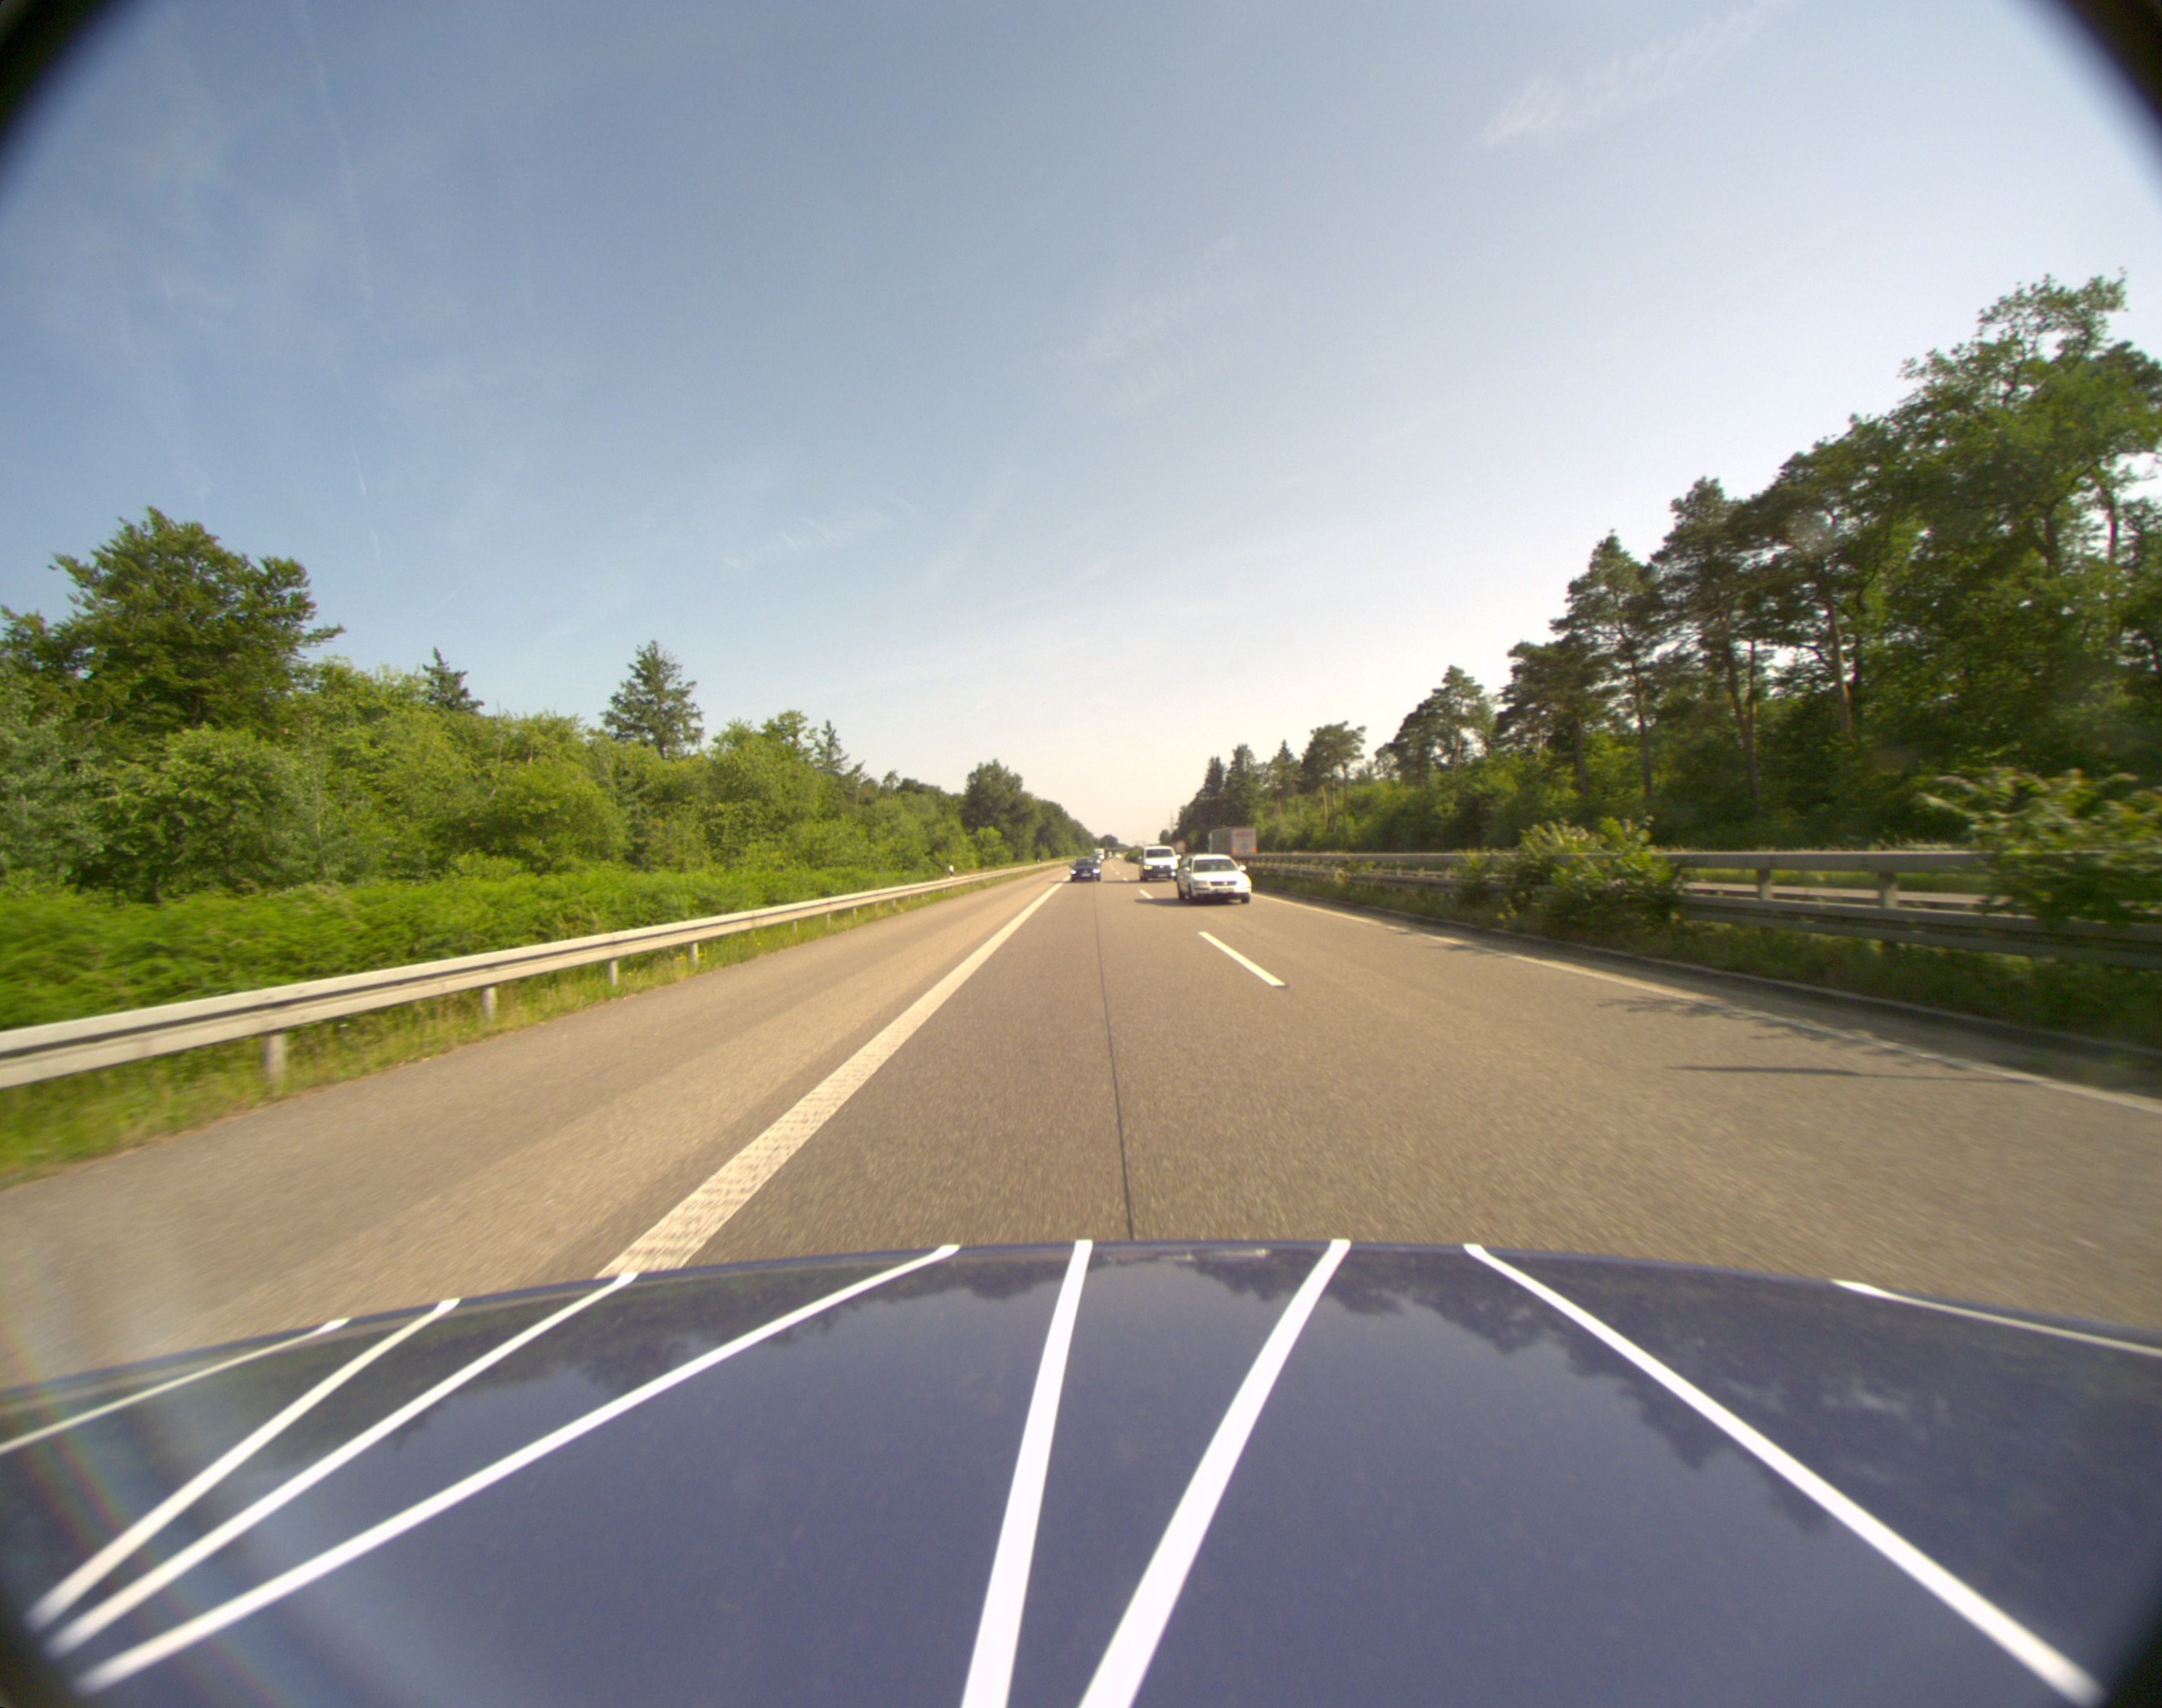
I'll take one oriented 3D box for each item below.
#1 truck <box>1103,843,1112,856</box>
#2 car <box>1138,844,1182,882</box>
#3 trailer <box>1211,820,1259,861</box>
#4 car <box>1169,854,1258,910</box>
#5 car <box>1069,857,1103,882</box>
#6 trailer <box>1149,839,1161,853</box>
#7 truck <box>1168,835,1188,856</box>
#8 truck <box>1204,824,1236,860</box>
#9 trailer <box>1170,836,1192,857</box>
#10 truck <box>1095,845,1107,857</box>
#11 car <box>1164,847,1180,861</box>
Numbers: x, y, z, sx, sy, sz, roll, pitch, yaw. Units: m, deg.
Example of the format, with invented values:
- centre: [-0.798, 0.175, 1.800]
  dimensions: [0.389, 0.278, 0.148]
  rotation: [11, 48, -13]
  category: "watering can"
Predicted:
- centre: [8.480, -1.487, 247.647]
  dimensions: [2.694, 4.061, 12.365]
  rotation: [-2, 0, 1]
  category: "truck"
- centre: [4.358, 0.449, 42.589]
  dimensions: [1.912, 1.934, 4.706]
  rotation: [-2, 0, 0]
  category: "car"
- centre: [16.818, -1.385, 83.965]
  dimensions: [2.840, 4.184, 12.410]
  rotation: [-1, 0, 0]
  category: "trailer"
- centre: [4.014, 0.782, 23.906]
  dimensions: [1.754, 1.477, 5.262]
  rotation: [-2, 0, -1]
  category: "car"
- centre: [0.328, 0.854, 43.302]
  dimensions: [1.788, 1.285, 3.539]
  rotation: [-2, 0, 2]
  category: "car"
- centre: [22.142, -2.302, 228.361]
  dimensions: [2.698, 4.176, 13.080]
  rotation: [-1, 0, 2]
  category: "trailer"
- centre: [20.029, -1.788, 157.722]
  dimensions: [3.275, 4.016, 6.232]
  rotation: [-2, 1, 0]
  category: "truck"
- centre: [16.857, -1.437, 92.390]
  dimensions: [2.845, 4.171, 5.546]
  rotation: [-1, 0, 0]
  category: "truck"
- centre: [20.019, -1.585, 152.485]
  dimensions: [3.303, 4.016, 8.372]
  rotation: [-2, 1, 0]
  category: "trailer"
- centre: [5.063, -0.733, 190.933]
  dimensions: [2.694, 3.020, 10.372]
  rotation: [-2, 0, 1]
  category: "truck"
- centre: [12.250, 0.000, 102.074]
  dimensions: [1.690, 1.679, 4.168]
  rotation: [-2, 0, 1]
  category: "car"
